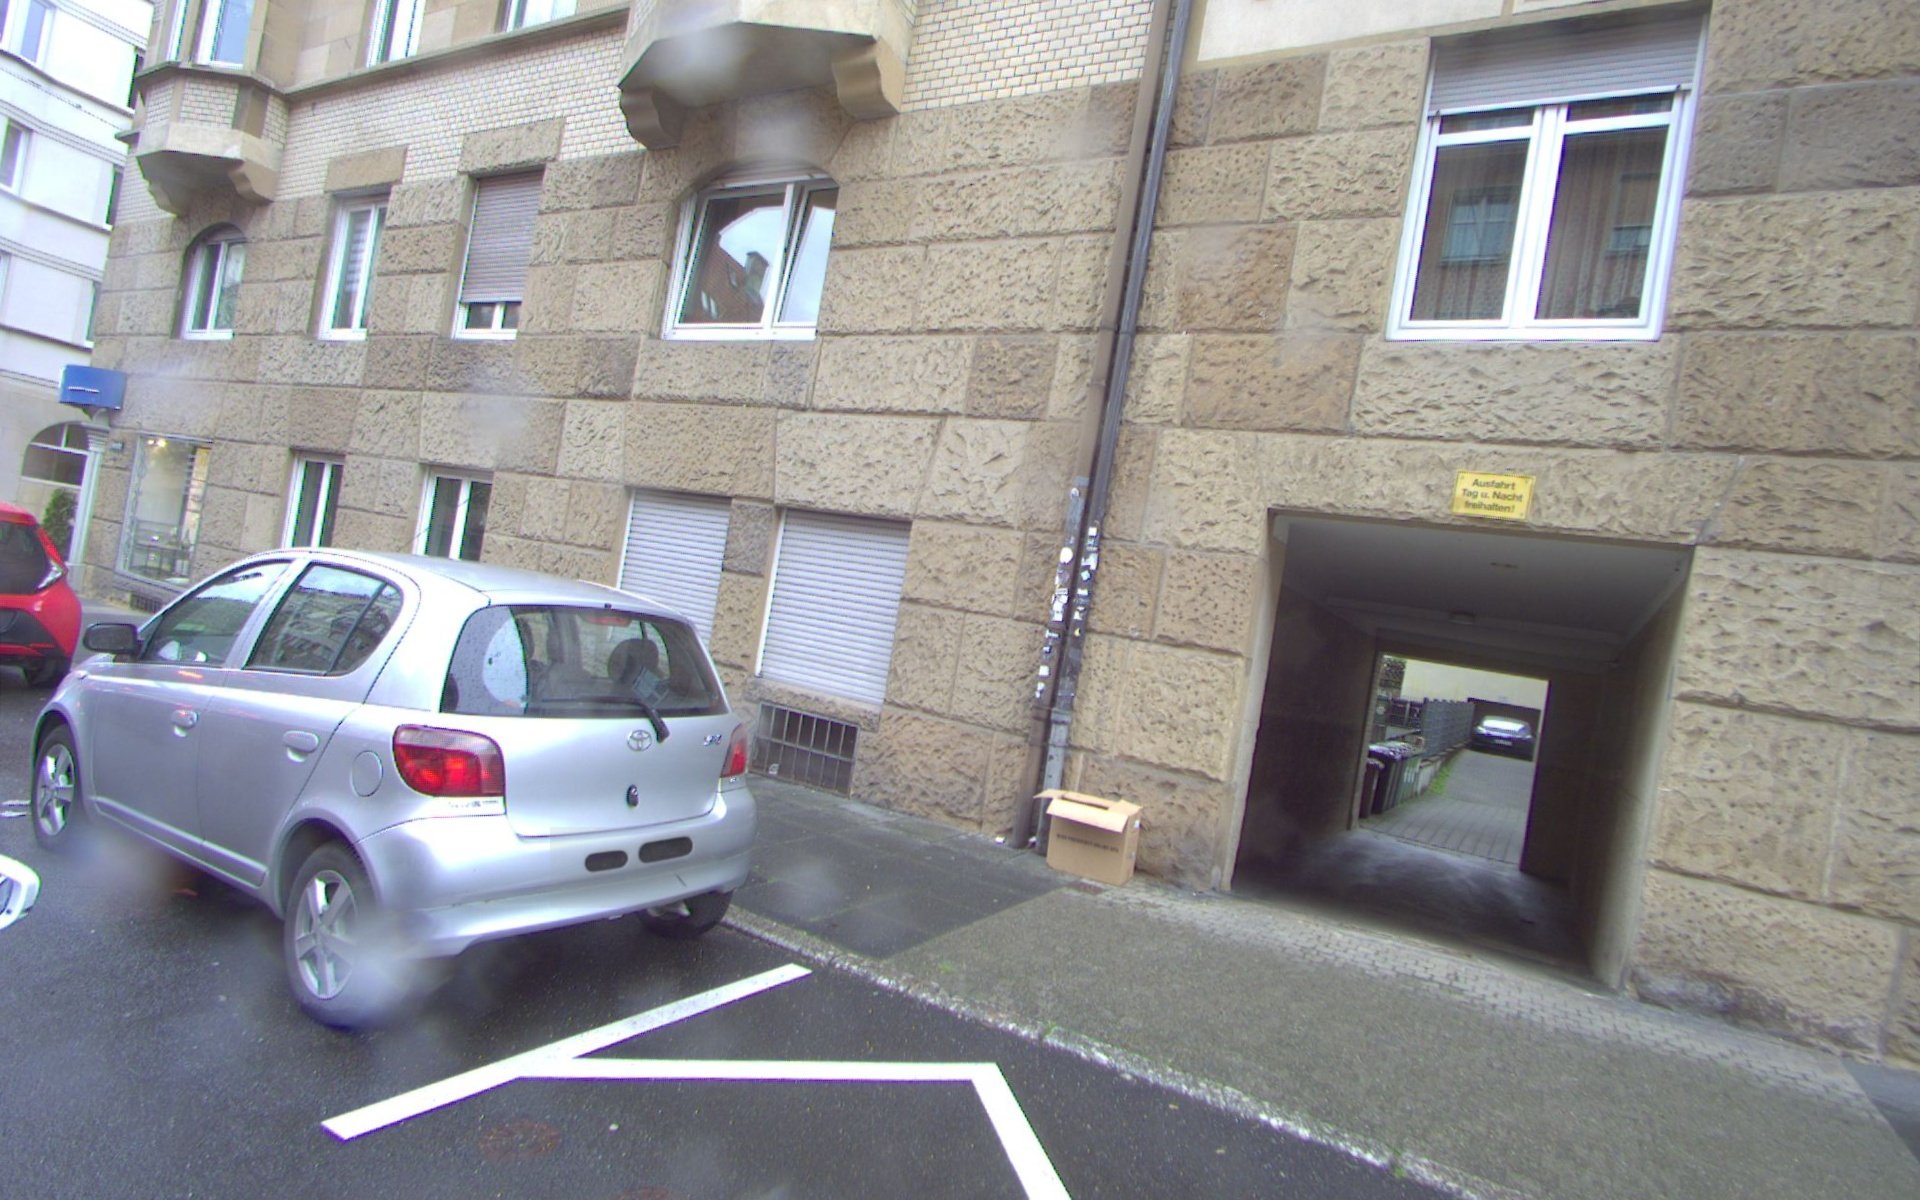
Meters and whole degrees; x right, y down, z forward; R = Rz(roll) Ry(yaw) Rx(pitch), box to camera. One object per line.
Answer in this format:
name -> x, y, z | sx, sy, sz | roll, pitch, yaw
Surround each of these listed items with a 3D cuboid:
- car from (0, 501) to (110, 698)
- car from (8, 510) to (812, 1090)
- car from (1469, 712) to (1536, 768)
car -> -8.736, -0.195, 8.176 | 3.243, 1.464, 1.646 | 7, -2, 29
car -> -2.487, 0.552, 4.398 | 3.258, 1.485, 1.616 | 7, 0, 33
car -> 18.340, 4.697, 33.939 | 1.693, 1.538, 4.102 | 7, -3, 31
